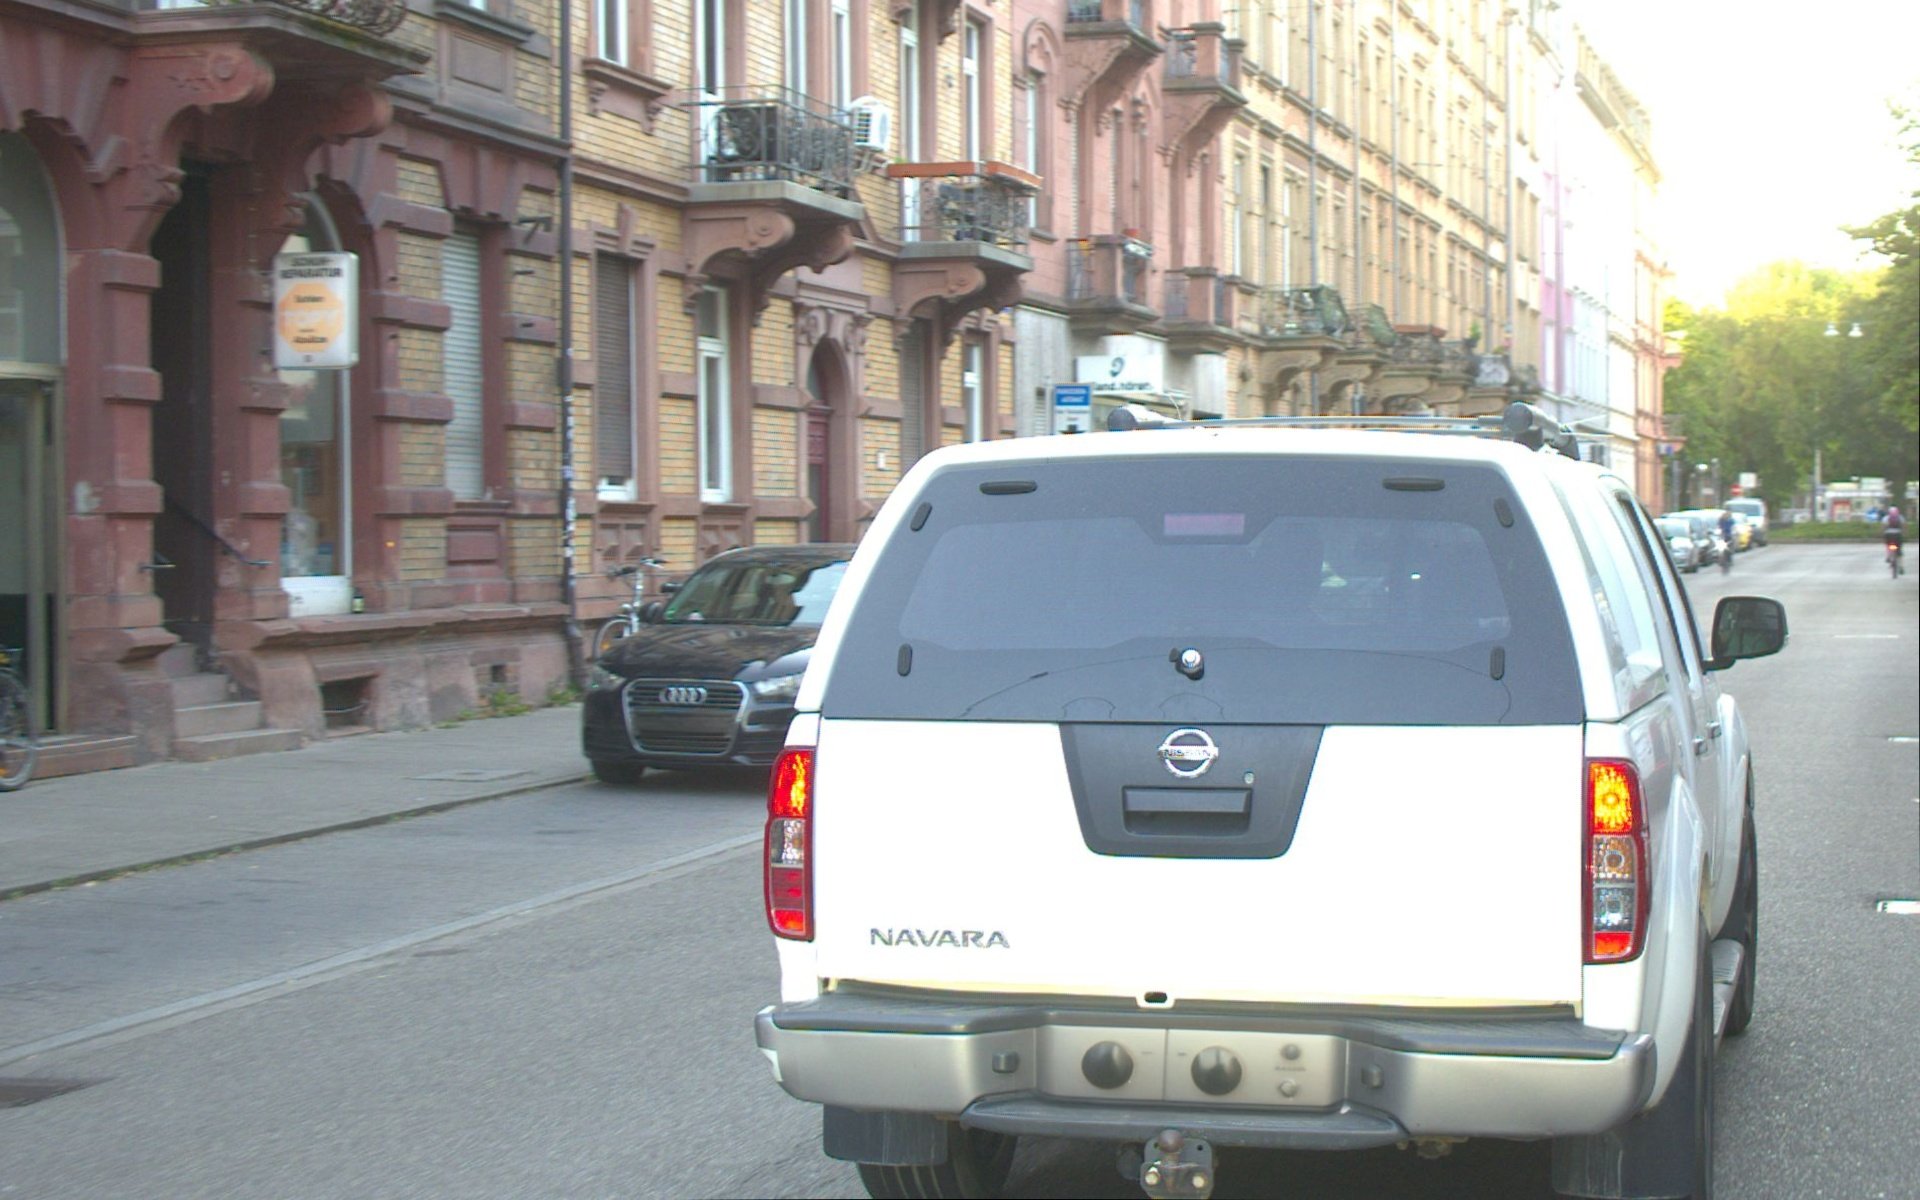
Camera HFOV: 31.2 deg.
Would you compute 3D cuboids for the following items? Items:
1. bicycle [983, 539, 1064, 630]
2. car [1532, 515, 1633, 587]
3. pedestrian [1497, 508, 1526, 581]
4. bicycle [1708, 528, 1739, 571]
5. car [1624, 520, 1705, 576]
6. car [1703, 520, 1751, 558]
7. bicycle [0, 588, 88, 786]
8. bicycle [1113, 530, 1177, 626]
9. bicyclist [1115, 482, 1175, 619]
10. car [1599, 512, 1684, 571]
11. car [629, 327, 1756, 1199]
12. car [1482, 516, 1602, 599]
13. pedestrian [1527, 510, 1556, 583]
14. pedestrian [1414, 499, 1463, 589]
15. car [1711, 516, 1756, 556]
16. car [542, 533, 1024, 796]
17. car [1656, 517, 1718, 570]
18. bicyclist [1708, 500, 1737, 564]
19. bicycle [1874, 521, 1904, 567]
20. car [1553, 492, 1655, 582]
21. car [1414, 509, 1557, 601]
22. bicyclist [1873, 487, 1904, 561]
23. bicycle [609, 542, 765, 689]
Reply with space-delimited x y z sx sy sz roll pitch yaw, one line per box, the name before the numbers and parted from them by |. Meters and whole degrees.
bicycle | 0.773 -0.198 41.015 0.449 1.019 1.847 4 2 16
car | 13.187 -1.051 72.660 1.785 1.418 4.483 2 2 14
pedestrian | 13.747 -1.381 85.646 0.580 1.765 0.997 3 3 12
bicycle | 19.819 -1.317 89.276 0.645 1.077 2.168 -2 1 9
car | 19.624 -1.458 95.602 1.835 1.453 4.203 3 2 16
car | 29.497 -2.356 132.142 1.699 1.421 4.020 2 2 13
bicycle | -5.419 0.481 18.532 0.426 1.049 1.896 1 2 19
bicycle | 2.353 -0.284 43.869 0.708 1.192 1.742 1 0 0
bicyclist | 2.359 -0.633 43.896 0.708 1.723 0.843 1 0 0
car | 17.283 -1.471 87.065 1.738 1.413 4.775 2 1 15
car | 0.967 0.389 8.769 1.912 1.847 5.267 2 1 14
car | 11.098 -0.834 65.414 1.718 1.452 3.997 2 2 17
pedestrian | 14.518 -1.339 85.823 0.605 1.766 0.777 3 3 12
pedestrian | 9.408 -1.101 67.608 0.555 1.749 1.020 1 0 33
car | 31.036 -2.573 137.863 1.699 1.547 4.020 2 2 13
car | -0.994 0.323 21.348 1.695 1.415 3.851 1 2 18
car | 22.174 -1.732 104.784 1.637 1.560 3.779 1 2 15
bicyclist | 19.801 -1.767 89.281 0.645 1.615 0.918 -2 1 9
bicycle | 22.612 -1.373 83.688 0.645 1.077 1.831 -2 1 14
car | 14.640 -1.458 77.941 1.994 1.917 4.949 2 2 13
car | 8.680 -0.776 56.531 1.759 1.407 4.505 1 2 16
bicyclist | 22.605 -1.853 83.700 0.645 1.754 0.648 -2 1 14
bicycle | -2.297 0.109 29.192 0.527 1.167 2.046 2 2 19
